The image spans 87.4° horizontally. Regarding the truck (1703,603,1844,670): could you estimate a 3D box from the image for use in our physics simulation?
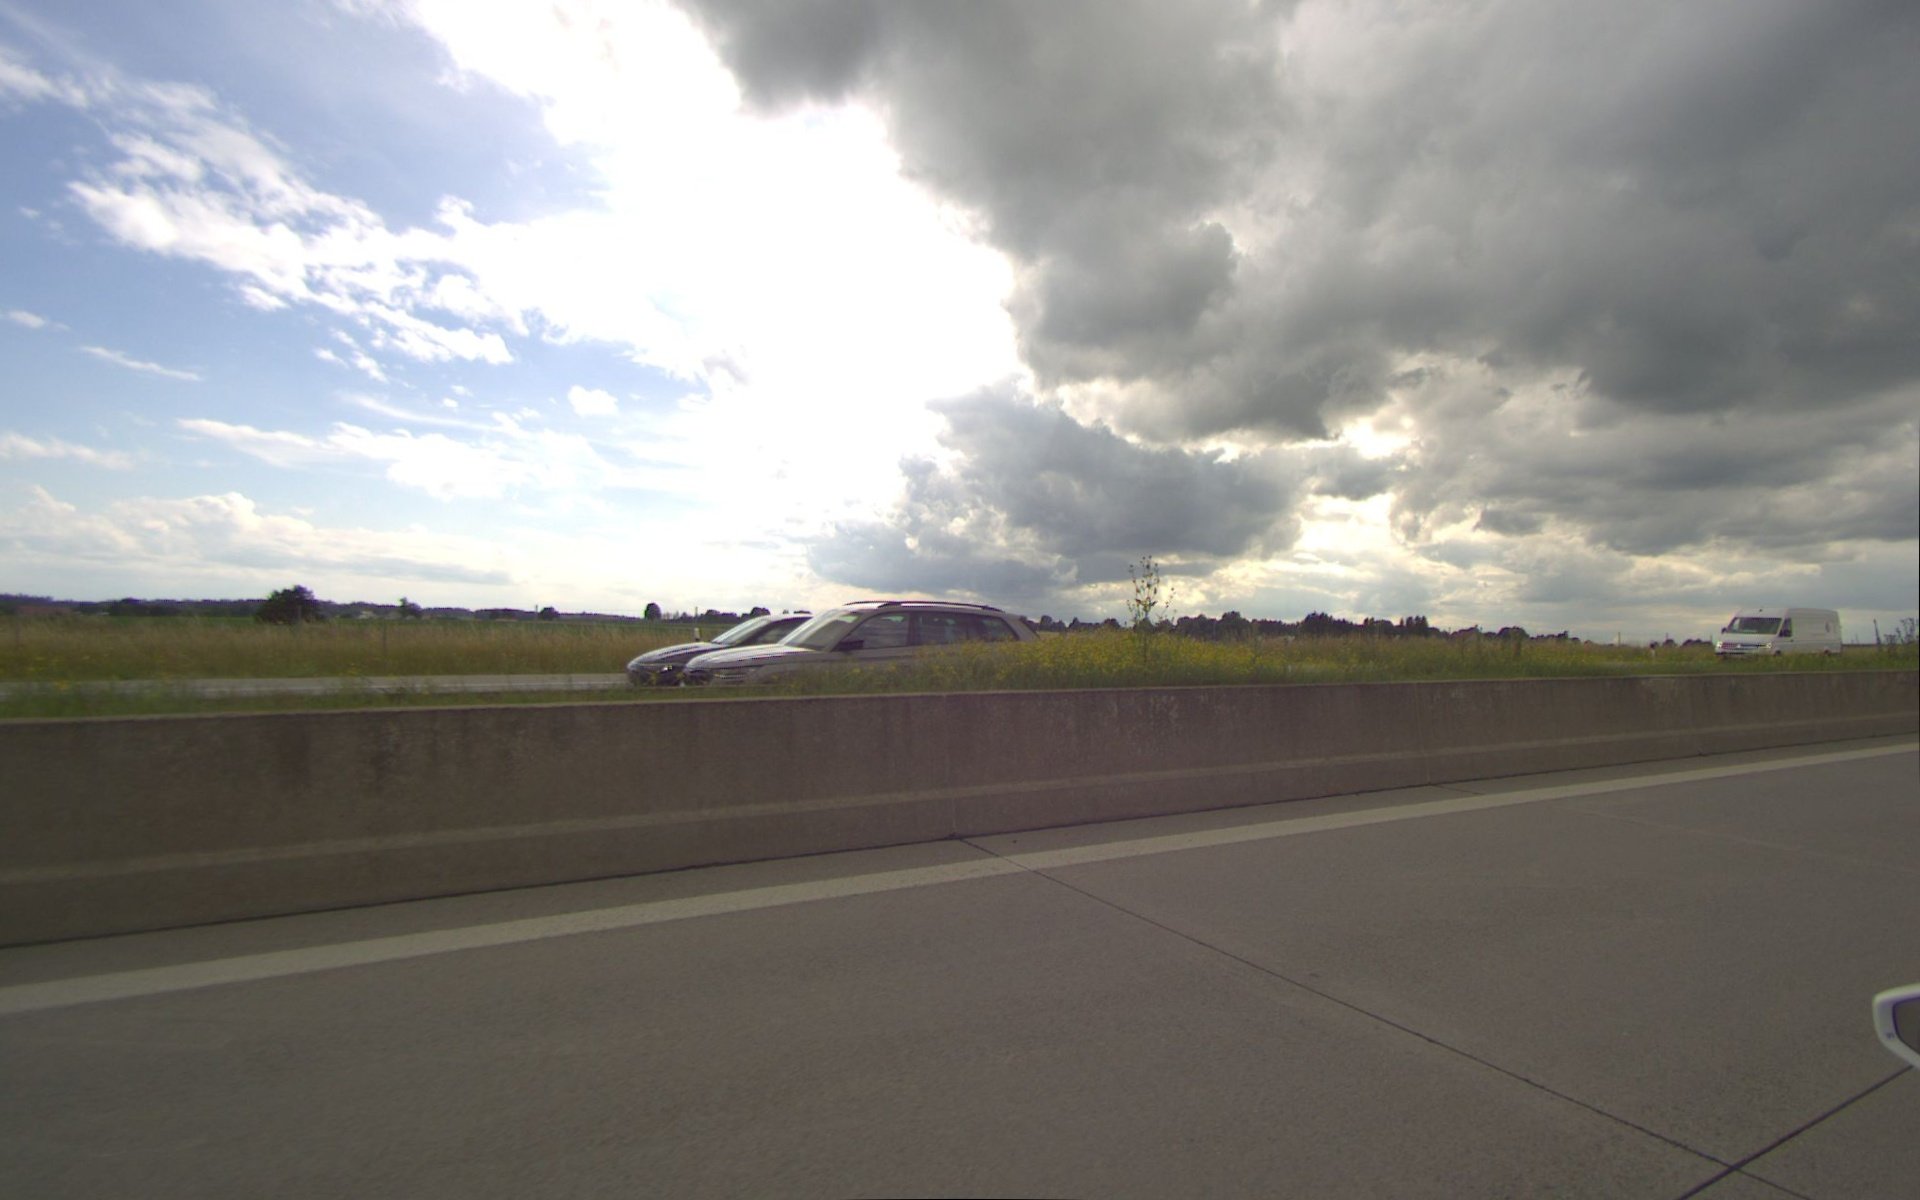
[{"bbox_3d":[34.327,1.566,42.316,7.362,2.600,2.134,3,-1,-30],"label":"truck"}]

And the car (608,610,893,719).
[{"bbox_3d":[-3.227,0.936,15.593,3.953,1.483,1.848,2,-1,-30],"label":"car"}]

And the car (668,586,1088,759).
[{"bbox_3d":[-0.947,0.813,12.571,4.873,1.805,1.984,2,-1,-30],"label":"car"}]
